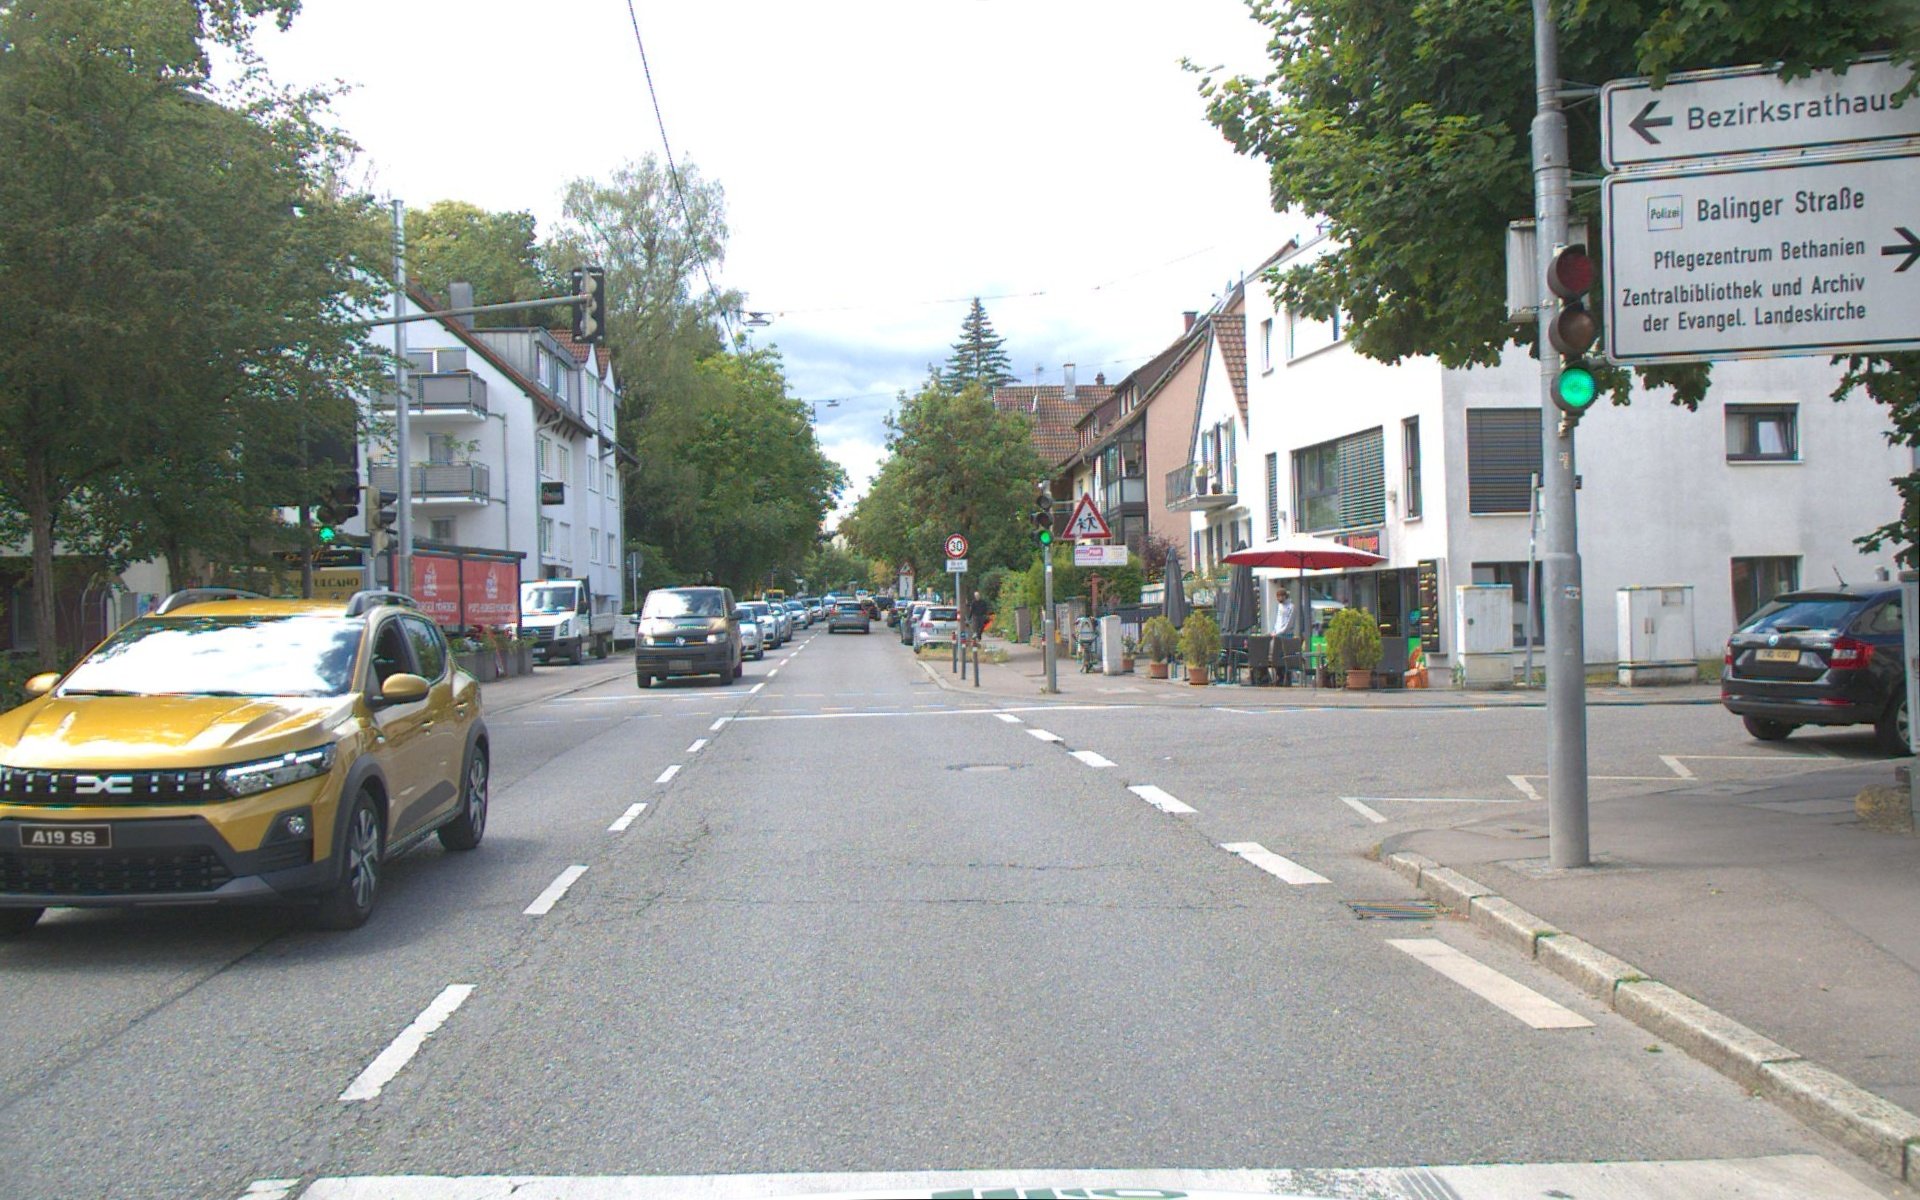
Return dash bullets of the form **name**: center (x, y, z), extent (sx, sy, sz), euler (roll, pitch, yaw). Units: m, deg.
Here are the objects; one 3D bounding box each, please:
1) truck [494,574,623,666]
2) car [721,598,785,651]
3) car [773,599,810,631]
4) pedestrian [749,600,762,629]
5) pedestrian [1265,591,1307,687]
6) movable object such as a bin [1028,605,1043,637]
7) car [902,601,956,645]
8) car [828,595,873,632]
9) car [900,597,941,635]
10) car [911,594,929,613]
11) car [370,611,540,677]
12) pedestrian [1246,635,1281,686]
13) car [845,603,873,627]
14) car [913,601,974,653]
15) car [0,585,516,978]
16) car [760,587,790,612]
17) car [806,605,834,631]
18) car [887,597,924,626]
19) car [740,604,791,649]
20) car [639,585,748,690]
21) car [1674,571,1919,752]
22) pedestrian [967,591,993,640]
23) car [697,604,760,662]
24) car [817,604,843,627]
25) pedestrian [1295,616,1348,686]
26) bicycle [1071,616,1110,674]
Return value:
- **truck**: center (-11.337, 0.559, 47.211), extent (2.179, 2.421, 6.324), euler (-1, -1, -1)
- **car**: center (-6.921, 0.801, 55.601), extent (1.770, 1.598, 4.156), euler (-3, 0, -4)
- **car**: center (-8.808, 0.760, 86.616), extent (1.725, 1.464, 3.967), euler (-3, 1, -4)
- **pedestrian**: center (-12.719, 0.900, 102.924), extent (0.700, 1.793, 1.119), euler (-1, -1, -9)
- **pedestrian**: center (6.181, 0.727, 31.374), extent (0.422, 1.793, 0.670), euler (-1, -1, -24)
- **movable object such as a bin**: center (2.577, 0.712, 56.454), extent (0.512, 1.099, 0.604), euler (-1, -1, 2)
- **car**: center (-1.157, 0.790, 59.400), extent (1.700, 1.453, 4.879), euler (1, 0, -4)
- **car**: center (-4.921, 0.584, 74.800), extent (1.936, 1.539, 4.264), euler (2, 0, -3)
- **car**: center (-1.711, 0.659, 70.688), extent (1.590, 1.534, 3.776), euler (-2, 0, -4)
- **car**: center (-4.575, 0.435, 189.503), extent (1.953, 2.049, 3.998), euler (-1, -1, -2)
- **car**: center (-12.073, 1.039, 39.736), extent (3.623, 1.450, 1.802), euler (-1, 0, -8)
- **pedestrian**: center (5.742, 1.137, 31.294), extent (0.413, 0.954, 0.494), euler (-1, -1, -25)
- **car**: center (-6.788, 1.002, 111.296), extent (1.779, 1.527, 4.265), euler (0, 0, -2)
- **car**: center (-0.551, 0.786, 50.830), extent (1.667, 1.506, 4.869), euler (0, 0, -3)
- **car**: center (-3.600, 0.723, 8.753), extent (1.694, 1.565, 3.996), euler (-1, 1, -5)
- **car**: center (-16.037, -0.025, 143.469), extent (2.102, 2.015, 4.929), euler (-1, -1, -1)
- **car**: center (-9.750, 1.239, 115.229), extent (1.751, 1.676, 4.488), euler (-3, 1, -3)
- **car**: center (-2.983, 0.596, 89.430), extent (1.766, 1.470, 4.882), euler (1, 0, -4)
- **car**: center (-7.428, 0.971, 63.474), extent (1.695, 1.528, 4.372), euler (-4, 1, -4)
- **car**: center (-5.324, 0.695, 33.560), extent (1.840, 1.946, 4.746), euler (-1, 0, -5)
- **car**: center (9.075, 0.486, 15.755), extent (4.111, 1.440, 1.769), euler (-3, 1, -21)
- **pedestrian**: center (0.706, 0.555, 59.437), extent (0.863, 1.742, 0.842), euler (-1, -1, -3)
- **car**: center (-6.451, 0.900, 46.367), extent (1.586, 1.512, 3.808), euler (-1, 0, -6)
- **car**: center (-9.908, 1.175, 126.121), extent (1.750, 1.619, 4.151), euler (-3, 1, -3)
- **pedestrian**: center (5.890, 0.829, 26.959), extent (0.560, 1.108, 0.628), euler (-1, -1, -29)
- **bicycle**: center (2.774, 0.941, 35.372), extent (0.706, 1.170, 2.213), euler (-1, -1, 2)
